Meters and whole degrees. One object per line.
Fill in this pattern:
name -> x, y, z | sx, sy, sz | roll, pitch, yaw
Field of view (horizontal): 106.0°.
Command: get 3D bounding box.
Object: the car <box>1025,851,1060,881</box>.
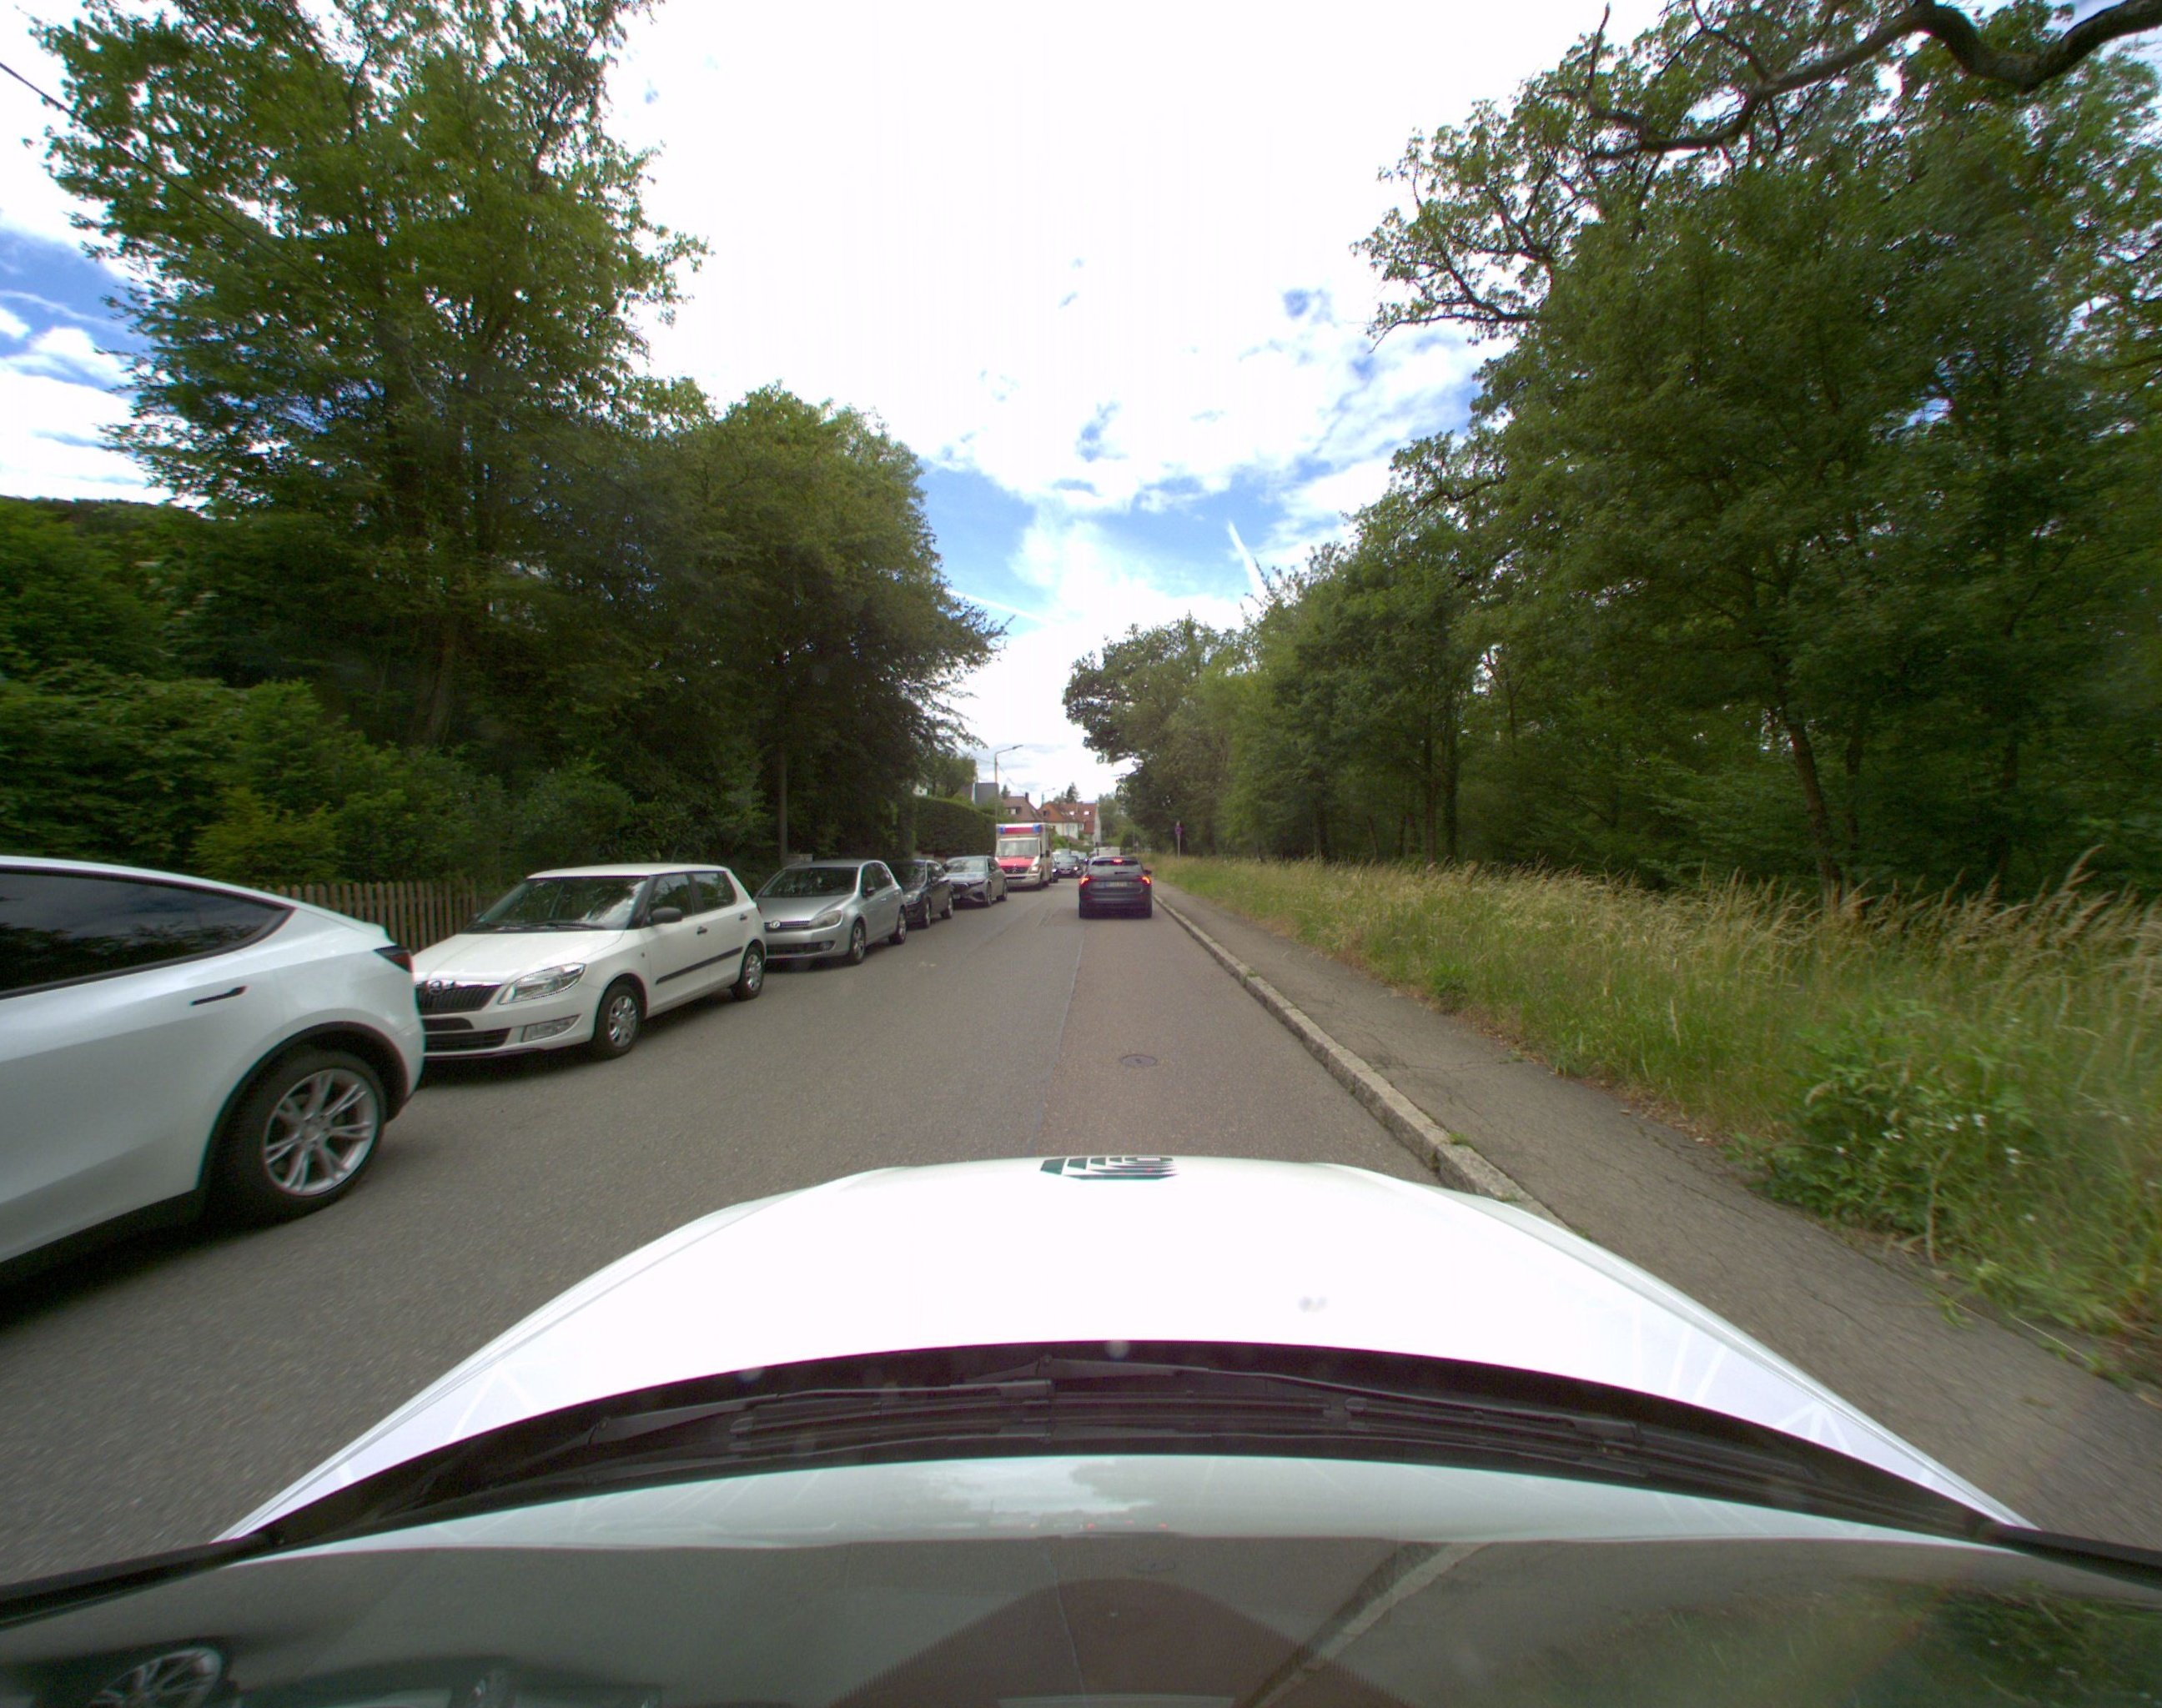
car -> -2.005, 0.596, 43.670 | 1.758, 1.446, 4.471 | -1, 0, -2

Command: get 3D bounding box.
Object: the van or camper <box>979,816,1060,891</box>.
van or camper -> -2.518, -0.041, 35.738 | 2.445, 2.894, 7.176 | -1, 0, 4

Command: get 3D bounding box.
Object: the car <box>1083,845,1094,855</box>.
car -> 1.275, -0.763, 138.283 | 1.827, 1.597, 4.325 | 0, 1, 1

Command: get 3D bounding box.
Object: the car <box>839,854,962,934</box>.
car -> -3.899, 0.793, 18.314 | 1.714, 1.505, 4.061 | -3, 0, 1

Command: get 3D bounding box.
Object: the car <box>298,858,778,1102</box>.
car -> -4.341, 0.851, 7.364 | 1.715, 1.504, 3.816 | -3, 0, 0

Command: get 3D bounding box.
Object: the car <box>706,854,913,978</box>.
car -> -3.909, 0.797, 12.493 | 1.714, 1.505, 4.008 | -3, 0, 1

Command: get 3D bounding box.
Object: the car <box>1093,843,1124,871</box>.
car -> 1.979, 0.188, 60.195 | 2.066, 1.922, 4.919 | 0, 1, -2

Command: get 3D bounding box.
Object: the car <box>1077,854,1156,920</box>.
car -> 0.798, 0.734, 20.528 | 1.723, 1.439, 4.322 | 0, 1, -1

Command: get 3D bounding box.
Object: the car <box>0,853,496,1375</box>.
car -> -4.241, 0.837, 2.233 | 1.911, 1.562, 4.602 | -3, 0, -1

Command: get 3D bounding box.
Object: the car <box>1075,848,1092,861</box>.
car -> 0.284, 0.017, 92.424 | 1.856, 1.414, 4.593 | 0, 0, 1

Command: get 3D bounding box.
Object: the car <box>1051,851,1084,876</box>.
car -> -0.783, 0.559, 50.581 | 1.756, 1.446, 4.477 | -1, 0, 3

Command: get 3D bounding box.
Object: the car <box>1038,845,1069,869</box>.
car -> -1.977, 0.211, 59.840 | 1.830, 1.648, 4.190 | -2, 0, 4

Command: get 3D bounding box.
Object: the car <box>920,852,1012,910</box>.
car -> -3.407, 0.756, 25.021 | 1.790, 1.505, 4.868 | -3, 0, 3
